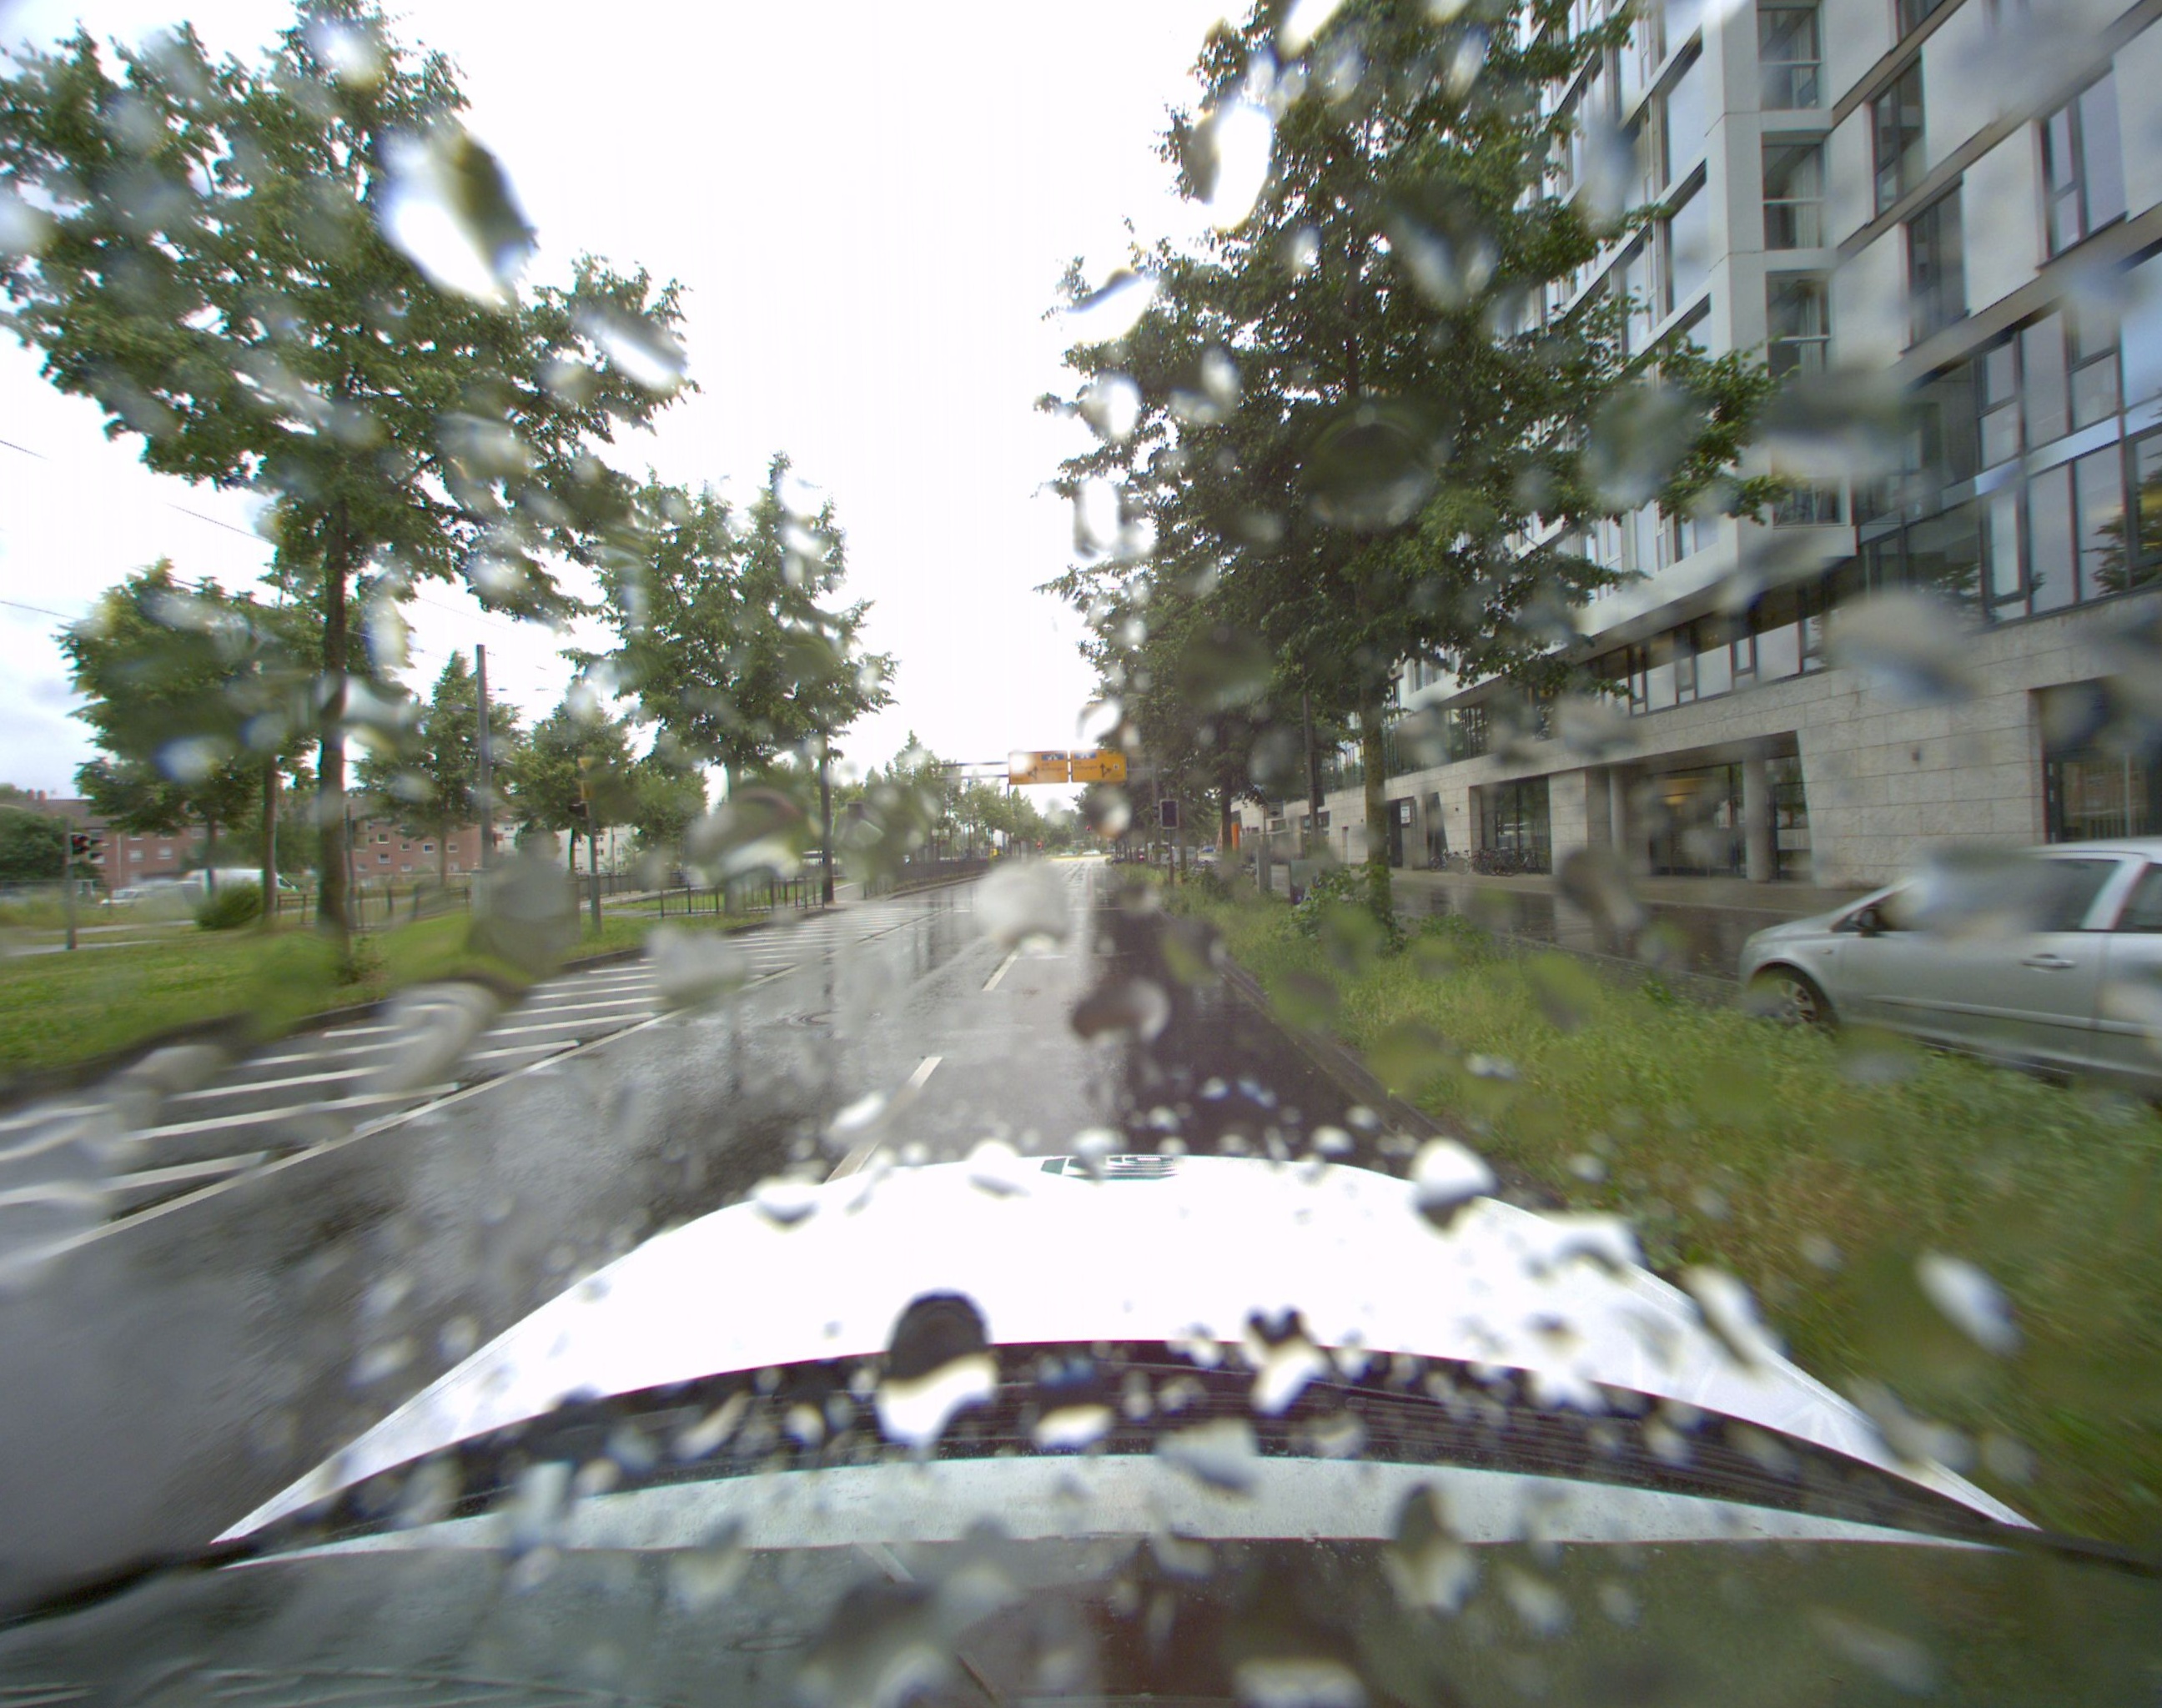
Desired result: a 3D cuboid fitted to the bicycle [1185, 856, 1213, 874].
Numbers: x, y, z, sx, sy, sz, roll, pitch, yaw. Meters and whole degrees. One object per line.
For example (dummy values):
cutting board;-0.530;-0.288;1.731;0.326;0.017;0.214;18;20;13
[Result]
bicycle;5.680;0.527;39.135;1.284;0.849;0.275;-2;0;-1

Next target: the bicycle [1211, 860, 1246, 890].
bicycle;5.621;0.809;31.071;1.281;1.074;0.276;-3;0;8

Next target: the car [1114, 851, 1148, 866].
car;5.448;0.463;89.204;1.827;1.545;3.960;-4;3;-32

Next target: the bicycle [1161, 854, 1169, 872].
bicycle;4.081;0.447;39.690;0.273;0.849;1.293;-3;0;1

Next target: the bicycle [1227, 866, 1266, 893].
bicycle;5.768;0.884;28.434;1.280;0.874;0.302;-3;0;12

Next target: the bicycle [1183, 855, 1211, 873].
bicycle;5.678;0.485;39.837;1.284;0.849;0.275;-3;0;-1

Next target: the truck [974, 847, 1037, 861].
truck;-18.326;0.015;197.577;14.903;3.147;3.501;-2;0;-19

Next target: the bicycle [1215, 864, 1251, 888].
bicycle;5.641;0.817;30.276;1.282;0.849;0.276;-3;0;5

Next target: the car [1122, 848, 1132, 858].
car;8.751;-0.182;154.655;1.616;1.699;3.461;-2;2;4

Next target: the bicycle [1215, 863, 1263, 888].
bicycle;5.802;0.790;29.947;1.664;0.849;0.275;-3;0;4

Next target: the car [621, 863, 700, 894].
car;-25.363;1.431;49.380;1.945;1.607;5.497;-3;0;-2

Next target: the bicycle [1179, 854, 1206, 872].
bicycle;5.681;0.467;41.527;1.284;0.849;0.275;-3;0;-1

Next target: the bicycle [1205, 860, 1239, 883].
bicycle;5.695;0.715;32.972;1.285;0.849;0.275;-2;0;-2

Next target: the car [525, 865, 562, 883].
car;-70.481;2.650;106.897;1.987;2.013;4.001;-2;2;0

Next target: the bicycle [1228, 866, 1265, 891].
bicycle;5.914;0.886;29.097;1.280;0.849;0.276;-3;0;12

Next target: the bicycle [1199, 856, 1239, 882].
bicycle;5.871;0.633;34.656;1.608;1.053;0.296;-3;0;-2

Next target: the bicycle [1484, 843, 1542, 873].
bicycle;16.004;0.141;30.181;1.799;1.028;0.541;-2;0;3

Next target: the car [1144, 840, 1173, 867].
car;6.808;-0.068;72.169;2.114;2.274;4.565;-2;0;1

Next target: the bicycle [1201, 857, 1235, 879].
bicycle;5.982;0.599;35.644;1.406;0.897;0.275;-3;0;-2

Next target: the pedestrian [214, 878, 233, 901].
pedestrian;-68.010;2.816;64.611;0.676;1.671;0.695;-3;2;-8

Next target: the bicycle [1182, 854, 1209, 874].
bicycle;5.640;0.494;40.180;1.284;0.918;0.275;-3;0;-1

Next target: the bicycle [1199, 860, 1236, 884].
bicycle;6.019;0.811;35.938;1.609;1.022;0.275;-1;-1;-1

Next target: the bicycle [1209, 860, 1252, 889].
bicycle;5.777;0.792;31.458;1.565;1.017;0.408;-3;0;7

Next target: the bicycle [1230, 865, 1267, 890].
bicycle;6.035;0.845;29.399;1.280;0.849;0.276;-3;0;12

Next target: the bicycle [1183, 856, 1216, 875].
bicycle;5.584;0.533;38.439;1.517;0.849;0.277;-2;0;-1

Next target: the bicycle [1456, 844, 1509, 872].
bicycle;16.166;0.159;32.800;1.799;1.028;0.541;-2;0;3

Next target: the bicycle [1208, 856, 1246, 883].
bicycle;5.768;0.624;32.266;1.432;1.017;0.349;-2;0;5

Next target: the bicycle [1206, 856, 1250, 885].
bicycle;6.034;0.680;33.435;1.704;1.103;0.282;-3;0;-6

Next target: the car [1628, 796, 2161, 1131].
car;5.885;0.435;4.998;1.875;1.505;4.724;-2;2;0

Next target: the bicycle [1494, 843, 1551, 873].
bicycle;15.985;0.149;29.480;1.799;1.028;0.402;-2;-1;3

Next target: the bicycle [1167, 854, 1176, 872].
bicycle;4.427;0.434;39.724;0.273;0.849;1.293;-3;0;1

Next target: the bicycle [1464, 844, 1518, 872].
bicycle;16.115;0.145;32.046;1.799;1.028;0.541;-2;0;3

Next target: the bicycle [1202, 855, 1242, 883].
bicycle;5.960;0.632;34.451;1.608;1.096;0.296;-3;0;-2

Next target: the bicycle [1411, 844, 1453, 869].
bicycle;15.856;0.120;36.783;1.687;1.028;0.423;-2;-1;3

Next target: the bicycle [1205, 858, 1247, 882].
bicycle;6.011;0.667;33.765;1.704;0.948;0.313;-1;-1;-6

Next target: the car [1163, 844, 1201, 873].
car;6.623;0.265;53.764;1.899;1.791;4.688;-2;0;1

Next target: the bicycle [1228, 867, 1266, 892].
bicycle;5.862;0.908;28.813;1.280;0.832;0.276;-3;0;12

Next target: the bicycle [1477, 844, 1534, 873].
bicycle;16.041;0.166;30.790;1.799;1.028;0.541;-2;0;3

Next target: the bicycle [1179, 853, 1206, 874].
bicycle;5.592;0.454;40.828;1.284;0.989;0.275;-2;0;-1

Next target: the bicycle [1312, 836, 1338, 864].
bicycle;16.386;-0.281;54.706;0.769;1.722;3.121;-2;2;1

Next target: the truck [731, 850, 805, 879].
truck;-58.355;1.874;151.979;12.518;4.592;3.374;-4;2;-26

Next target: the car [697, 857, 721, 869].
car;-62.976;1.514;137.994;3.547;1.738;1.693;-3;2;-23

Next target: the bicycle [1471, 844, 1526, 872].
bicycle;16.078;0.153;31.396;1.799;1.028;0.541;-2;0;3

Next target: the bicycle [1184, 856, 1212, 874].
bicycle;5.674;0.526;39.482;1.284;0.849;0.355;-2;0;-1

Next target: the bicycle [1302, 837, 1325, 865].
bicycle;15.605;-0.245;54.647;0.642;1.722;3.121;-2;2;1

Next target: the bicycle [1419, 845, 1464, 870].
bicycle;15.820;0.149;35.734;1.743;1.028;0.412;-2;-1;3

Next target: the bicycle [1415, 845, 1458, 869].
bicycle;15.849;0.130;36.278;1.687;1.028;0.423;-2;-1;3

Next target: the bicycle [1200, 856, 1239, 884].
bicycle;5.545;0.639;32.637;1.448;1.017;0.348;-2;0;-2

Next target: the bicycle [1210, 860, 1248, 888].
bicycle;5.797;0.787;31.877;1.431;1.017;0.349;-2;0;7

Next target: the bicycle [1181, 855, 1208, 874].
bicycle;5.627;0.523;40.522;1.284;0.849;0.275;-2;0;-1

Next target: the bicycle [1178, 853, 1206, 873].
bicycle;5.618;0.456;41.189;1.321;0.910;0.275;-3;0;-1

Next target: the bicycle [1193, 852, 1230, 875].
bicycle;6.033;0.454;37.742;1.638;0.988;0.320;-3;0;-1

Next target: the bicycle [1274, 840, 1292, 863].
bicycle;16.068;-0.231;64.893;0.642;1.722;3.121;-2;2;1

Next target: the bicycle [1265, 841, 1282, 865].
bicycle;15.325;-0.109;64.907;0.642;1.722;3.121;-2;2;1

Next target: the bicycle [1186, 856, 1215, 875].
bicycle;5.690;0.528;38.743;1.284;0.849;0.275;-2;0;-1

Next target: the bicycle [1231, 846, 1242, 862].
bicycle;16.525;0.026;86.702;0.664;1.534;2.765;-2;2;1

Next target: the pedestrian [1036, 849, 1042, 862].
pedestrian;-6.338;0.218;123.267;0.692;2.013;0.659;-2;2;16
